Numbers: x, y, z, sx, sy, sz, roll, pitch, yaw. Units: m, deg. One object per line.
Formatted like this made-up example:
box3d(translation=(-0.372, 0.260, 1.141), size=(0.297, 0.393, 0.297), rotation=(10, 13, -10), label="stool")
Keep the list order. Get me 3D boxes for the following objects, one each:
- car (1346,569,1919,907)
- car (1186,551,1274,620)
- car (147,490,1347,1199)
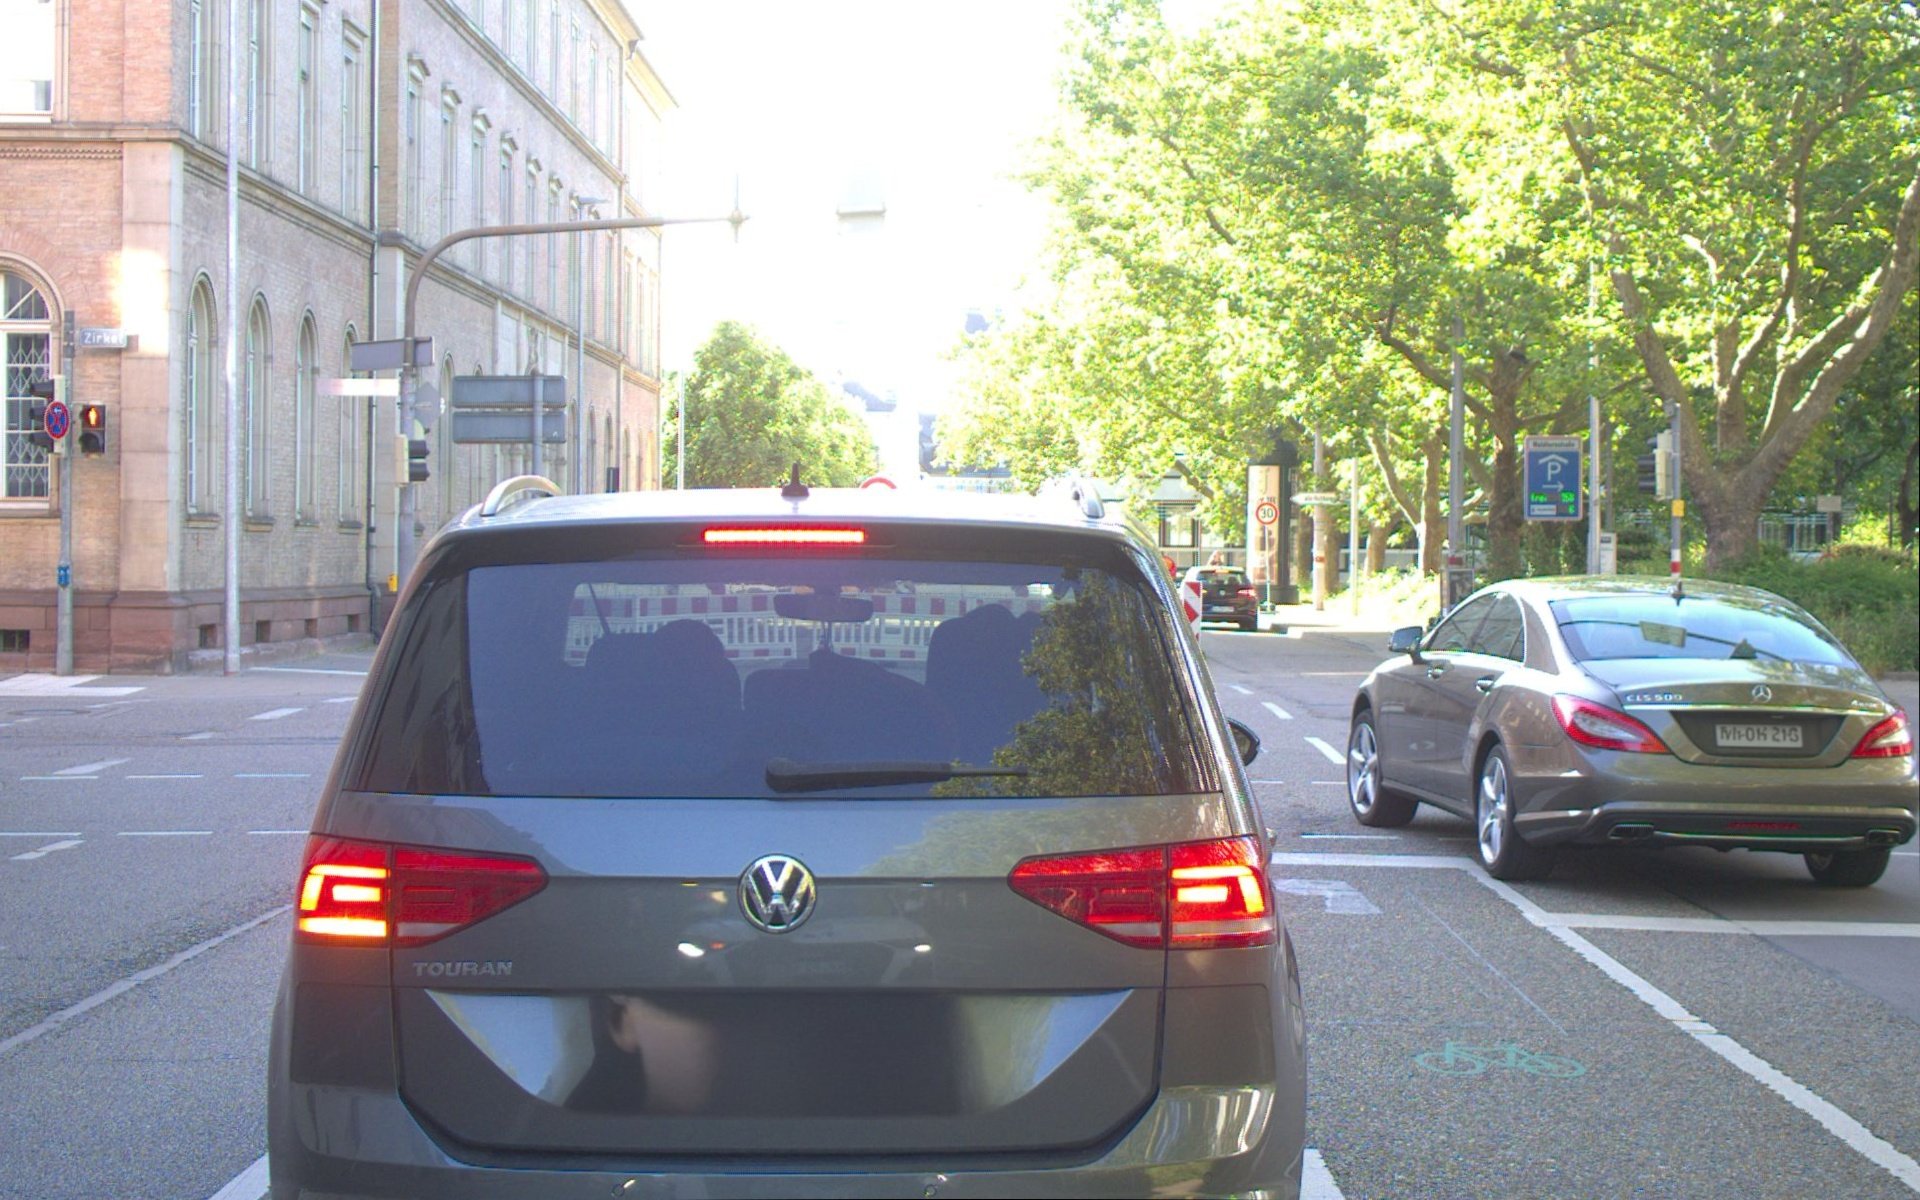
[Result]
box3d(translation=(3.273, 0.583, 17.206), size=(1.843, 1.424, 4.518), rotation=(1, 1, -4), label="car")
box3d(translation=(6.197, -0.338, 79.143), size=(1.689, 1.435, 3.902), rotation=(4, 1, 1), label="car")
box3d(translation=(-0.256, 0.622, 7.181), size=(1.809, 1.607, 4.000), rotation=(0, 1, 2), label="car")
